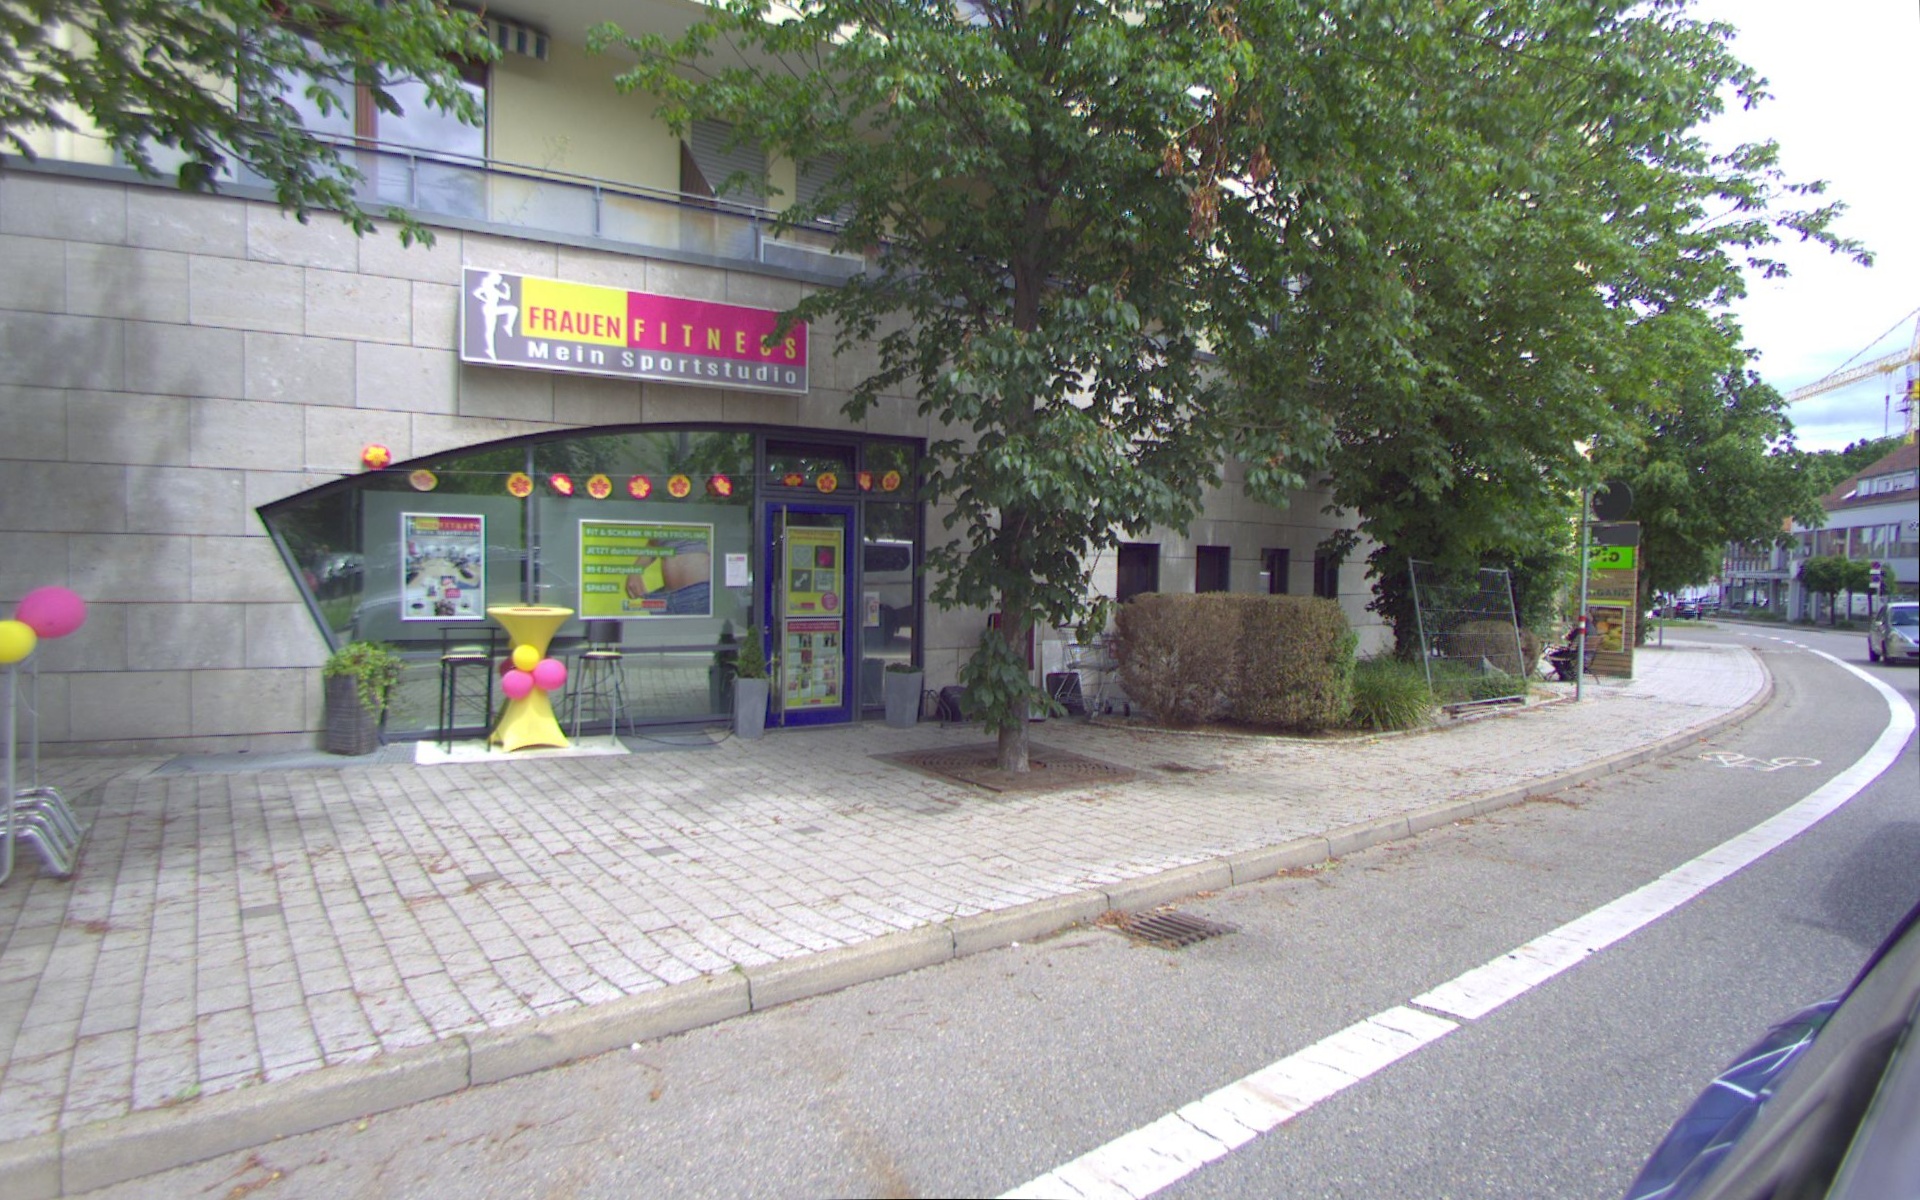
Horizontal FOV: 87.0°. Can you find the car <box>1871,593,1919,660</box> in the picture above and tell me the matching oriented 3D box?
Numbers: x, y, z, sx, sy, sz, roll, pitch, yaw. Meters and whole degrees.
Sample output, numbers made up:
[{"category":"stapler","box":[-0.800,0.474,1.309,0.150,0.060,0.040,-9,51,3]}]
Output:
[{"category":"car","box":[23.594,0.593,24.536,1.683,1.505,3.951,-1,0,34]}]

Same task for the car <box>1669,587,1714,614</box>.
[{"category":"car","box":[54.128,0.016,74.962,1.722,1.874,3.970,2,2,23]}]

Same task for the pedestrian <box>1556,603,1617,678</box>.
[{"category":"pedestrian","box":[11.442,0.722,18.496,0.741,1.317,0.730,0,2,-41]}]
